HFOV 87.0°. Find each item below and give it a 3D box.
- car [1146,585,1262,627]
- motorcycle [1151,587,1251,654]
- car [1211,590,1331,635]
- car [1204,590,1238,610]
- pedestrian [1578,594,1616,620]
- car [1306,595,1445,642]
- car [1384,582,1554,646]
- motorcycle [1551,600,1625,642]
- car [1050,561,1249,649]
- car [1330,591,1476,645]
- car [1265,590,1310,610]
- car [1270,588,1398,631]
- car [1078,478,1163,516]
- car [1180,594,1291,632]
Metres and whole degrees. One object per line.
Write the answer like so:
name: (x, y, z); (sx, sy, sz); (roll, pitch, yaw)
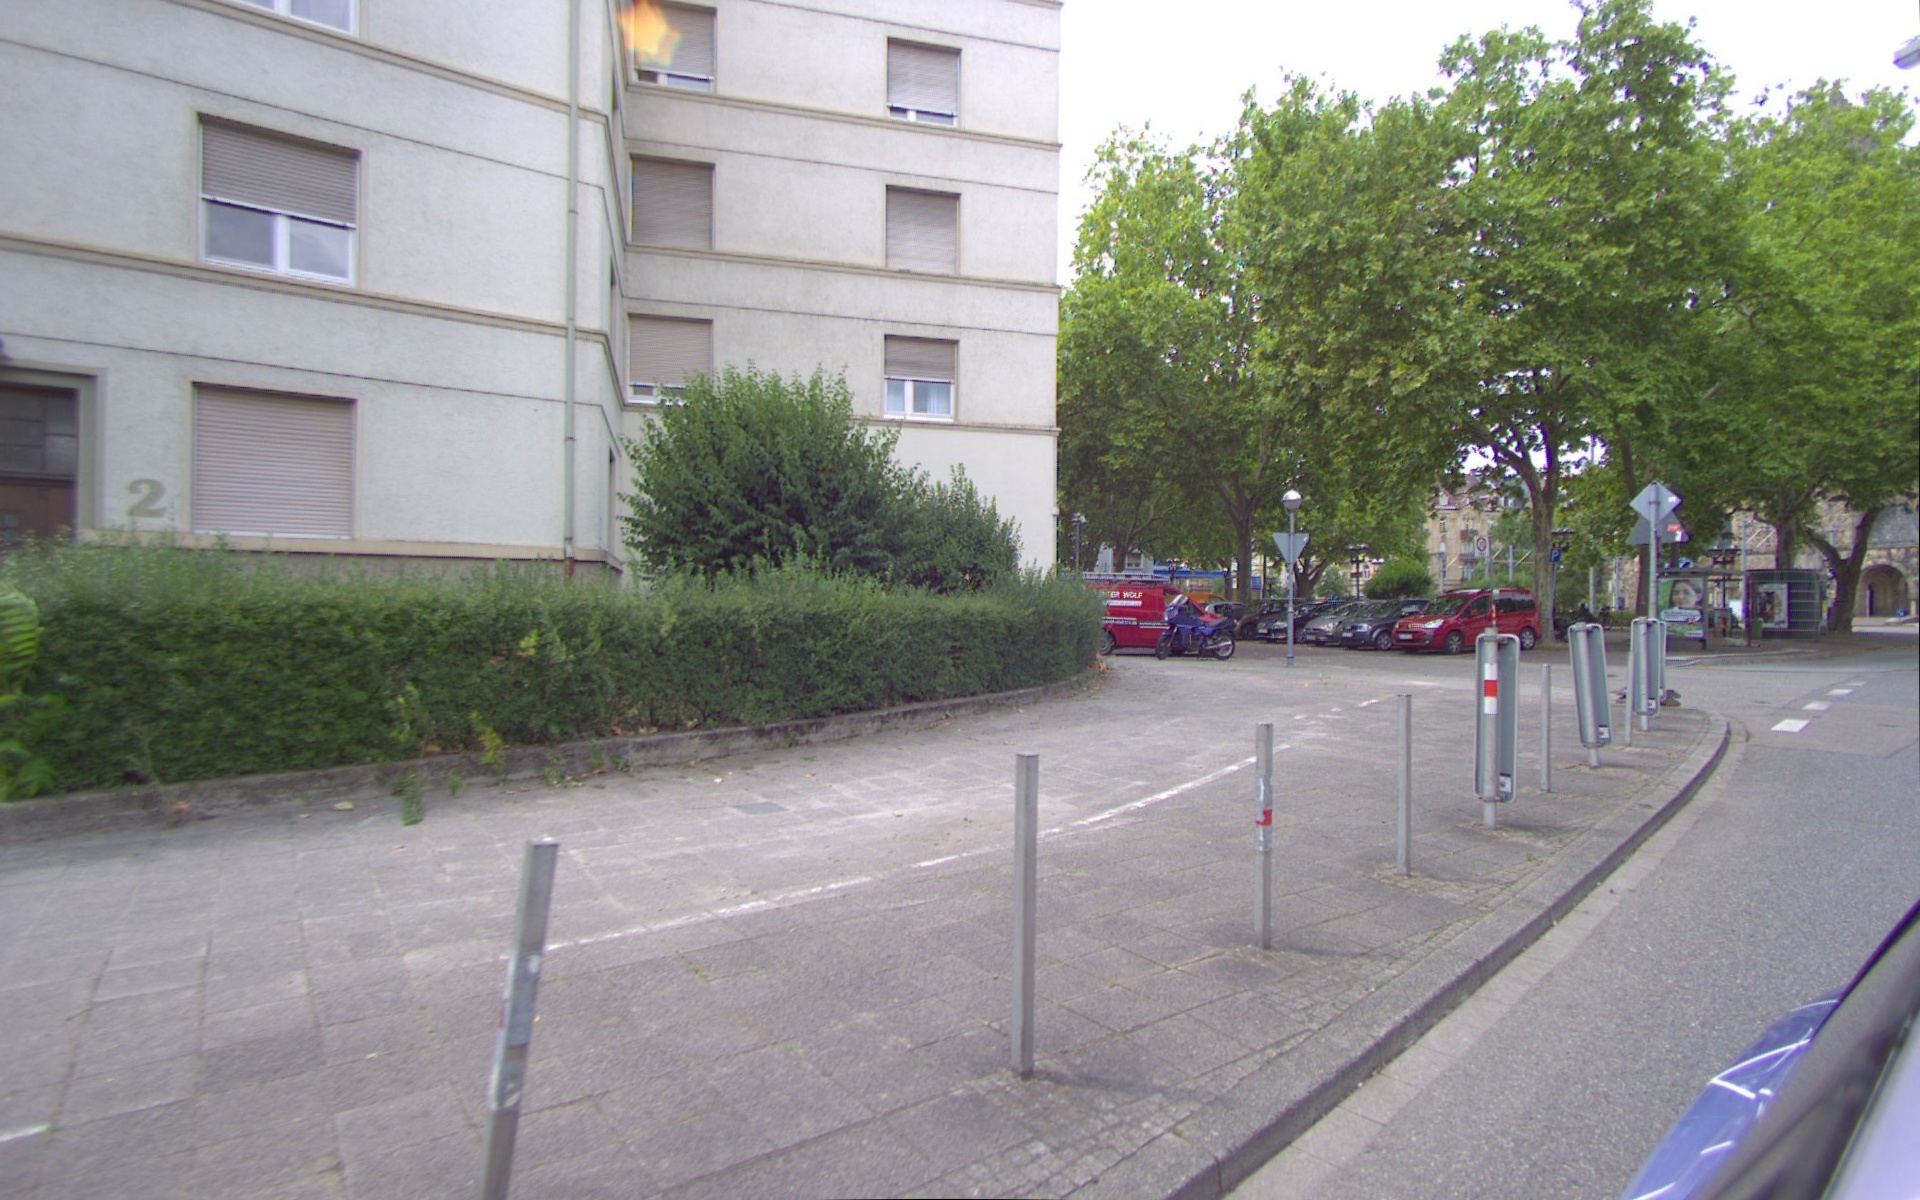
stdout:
car: (10.519, 0.229, 43.655); (4.464, 1.716, 2.004); (0, 0, -20)
motorcycle: (5.593, 0.476, 23.419); (2.259, 1.480, 0.836); (1, -1, -29)
car: (11.787, 0.457, 38.432); (3.916, 1.619, 2.004); (0, 0, -20)
car: (24.676, -0.007, 95.762); (1.961, 1.839, 4.002); (1, 0, -3)
pedestrian: (30.771, 0.350, 48.896); (1.117, 1.228, 1.101); (0, 0, -15)
car: (13.876, 0.588, 33.834); (4.096, 1.482, 1.755); (0, 0, -16)
car: (14.447, 0.363, 28.752); (4.239, 1.727, 1.943); (0, 0, -20)
motorcycle: (19.393, 0.633, 31.273); (0.522, 1.238, 1.856); (1, -1, -42)
car: (4.954, 0.137, 26.610); (4.742, 2.177, 2.004); (1, 0, -17)
car: (13.623, 0.511, 31.170); (3.916, 1.571, 1.837); (0, 0, -20)
car: (31.667, 0.020, 97.957); (1.958, 1.901, 4.390); (1, 0, -18)
car: (13.363, 0.318, 36.167); (3.916, 1.482, 2.004); (0, 0, -20)
car: (8.463, -5.406, 53.461); (3.915, 1.660, 2.004); (1, 0, -18)
car: (11.238, 0.513, 41.344); (3.916, 1.482, 2.004); (0, 0, -20)
